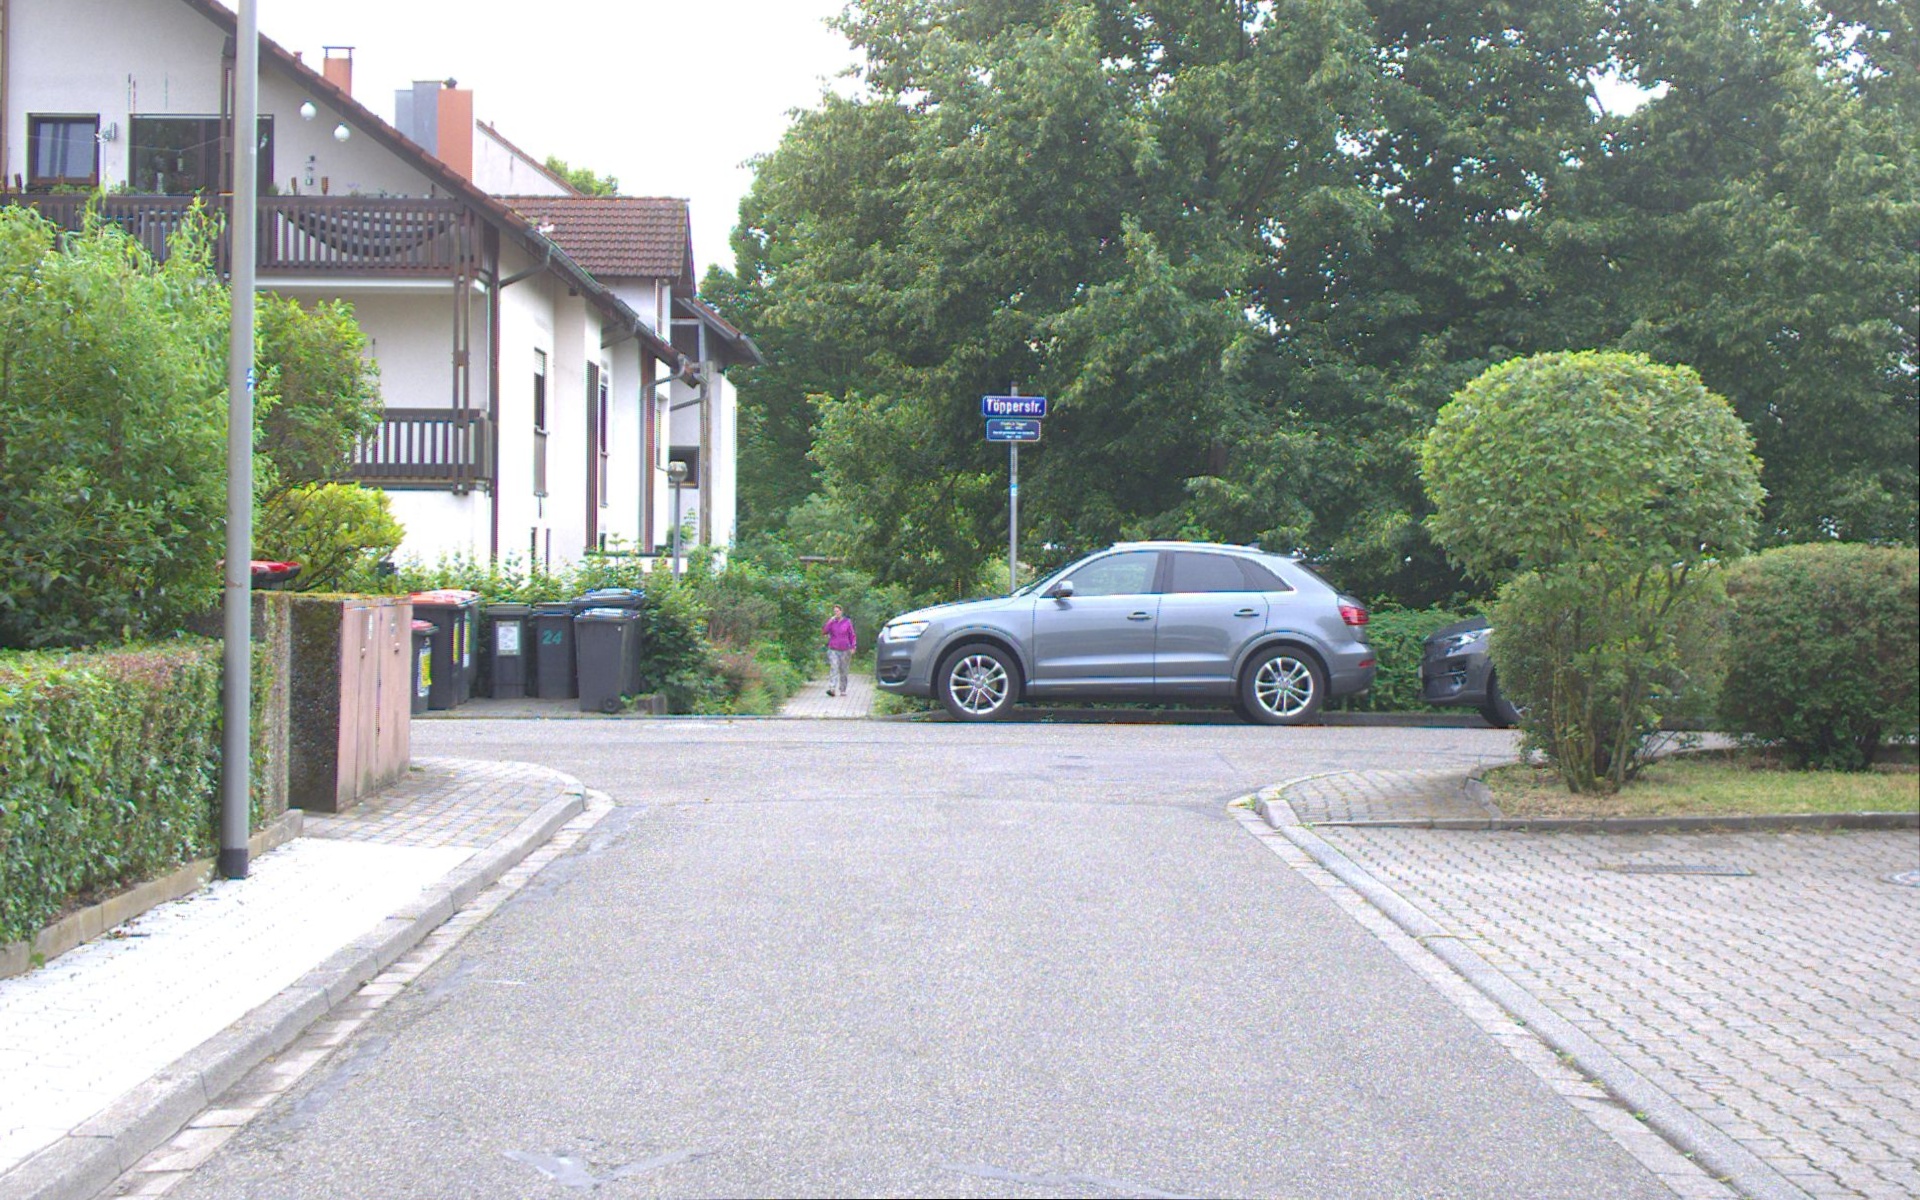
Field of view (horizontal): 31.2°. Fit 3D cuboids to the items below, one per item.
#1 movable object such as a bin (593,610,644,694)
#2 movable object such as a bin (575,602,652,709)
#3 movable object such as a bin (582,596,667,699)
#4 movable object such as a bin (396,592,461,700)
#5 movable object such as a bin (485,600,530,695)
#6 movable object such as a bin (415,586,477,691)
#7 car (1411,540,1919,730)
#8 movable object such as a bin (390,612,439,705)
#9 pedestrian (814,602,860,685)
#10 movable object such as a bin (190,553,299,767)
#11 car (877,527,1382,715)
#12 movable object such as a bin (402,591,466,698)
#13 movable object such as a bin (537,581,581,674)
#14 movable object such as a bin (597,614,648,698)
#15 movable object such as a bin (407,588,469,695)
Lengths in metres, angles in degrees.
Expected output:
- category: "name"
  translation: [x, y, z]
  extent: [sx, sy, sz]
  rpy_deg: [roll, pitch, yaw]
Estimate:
- category: "movable object such as a bin"
  translation: [-3.305, 0.499, 33.296]
  extent: [0.459, 0.795, 0.379]
  rpy_deg: [1, 1, -3]
- category: "movable object such as a bin"
  translation: [-3.208, 0.511, 31.889]
  extent: [0.638, 0.950, 0.723]
  rpy_deg: [1, 1, -2]
- category: "movable object such as a bin"
  translation: [-3.189, 0.450, 32.729]
  extent: [0.733, 0.950, 0.584]
  rpy_deg: [2, 1, -1]
- category: "movable object such as a bin"
  translation: [-4.952, 0.426, 32.043]
  extent: [0.537, 0.990, 0.379]
  rpy_deg: [1, 1, -3]
- category: "movable object such as a bin"
  translation: [-4.397, 0.461, 33.416]
  extent: [0.386, 0.898, 0.379]
  rpy_deg: [1, 1, -3]
- category: "movable object such as a bin"
  translation: [-4.968, 0.373, 33.221]
  extent: [0.537, 0.990, 0.337]
  rpy_deg: [1, 1, -3]
- category: "car"
  translation: [6.031, 0.303, 29.460]
  extent: [4.182, 1.526, 1.747]
  rpy_deg: [1, -1, 4]
- category: "movable object such as a bin"
  translation: [-5.003, 0.533, 31.521]
  extent: [0.386, 0.834, 0.379]
  rpy_deg: [1, 1, -3]
- category: "pedestrian"
  translation: [-2.256, 0.790, 63.017]
  extent: [0.815, 1.512, 0.438]
  rpy_deg: [0, 0, -3]
- category: "movable object such as a bin"
  translation: [-4.030, 0.328, 19.378]
  extent: [0.505, 1.183, 0.515]
  rpy_deg: [-1, 1, -2]
- category: "car"
  translation: [1.416, 0.194, 29.831]
  extent: [4.237, 1.526, 1.747]
  rpy_deg: [1, -1, -1]
- category: "movable object such as a bin"
  translation: [-4.957, 0.417, 32.423]
  extent: [0.537, 0.990, 0.337]
  rpy_deg: [1, 1, -3]
- category: "movable object such as a bin"
  translation: [-3.902, 0.266, 33.451]
  extent: [0.386, 0.886, 0.379]
  rpy_deg: [1, 1, -3]
- category: "movable object such as a bin"
  translation: [-3.313, 0.548, 33.752]
  extent: [0.459, 0.795, 0.379]
  rpy_deg: [1, 1, -3]
- category: "movable object such as a bin"
  translation: [-4.977, 0.394, 32.782]
  extent: [0.537, 0.990, 0.337]
  rpy_deg: [1, 1, -3]
